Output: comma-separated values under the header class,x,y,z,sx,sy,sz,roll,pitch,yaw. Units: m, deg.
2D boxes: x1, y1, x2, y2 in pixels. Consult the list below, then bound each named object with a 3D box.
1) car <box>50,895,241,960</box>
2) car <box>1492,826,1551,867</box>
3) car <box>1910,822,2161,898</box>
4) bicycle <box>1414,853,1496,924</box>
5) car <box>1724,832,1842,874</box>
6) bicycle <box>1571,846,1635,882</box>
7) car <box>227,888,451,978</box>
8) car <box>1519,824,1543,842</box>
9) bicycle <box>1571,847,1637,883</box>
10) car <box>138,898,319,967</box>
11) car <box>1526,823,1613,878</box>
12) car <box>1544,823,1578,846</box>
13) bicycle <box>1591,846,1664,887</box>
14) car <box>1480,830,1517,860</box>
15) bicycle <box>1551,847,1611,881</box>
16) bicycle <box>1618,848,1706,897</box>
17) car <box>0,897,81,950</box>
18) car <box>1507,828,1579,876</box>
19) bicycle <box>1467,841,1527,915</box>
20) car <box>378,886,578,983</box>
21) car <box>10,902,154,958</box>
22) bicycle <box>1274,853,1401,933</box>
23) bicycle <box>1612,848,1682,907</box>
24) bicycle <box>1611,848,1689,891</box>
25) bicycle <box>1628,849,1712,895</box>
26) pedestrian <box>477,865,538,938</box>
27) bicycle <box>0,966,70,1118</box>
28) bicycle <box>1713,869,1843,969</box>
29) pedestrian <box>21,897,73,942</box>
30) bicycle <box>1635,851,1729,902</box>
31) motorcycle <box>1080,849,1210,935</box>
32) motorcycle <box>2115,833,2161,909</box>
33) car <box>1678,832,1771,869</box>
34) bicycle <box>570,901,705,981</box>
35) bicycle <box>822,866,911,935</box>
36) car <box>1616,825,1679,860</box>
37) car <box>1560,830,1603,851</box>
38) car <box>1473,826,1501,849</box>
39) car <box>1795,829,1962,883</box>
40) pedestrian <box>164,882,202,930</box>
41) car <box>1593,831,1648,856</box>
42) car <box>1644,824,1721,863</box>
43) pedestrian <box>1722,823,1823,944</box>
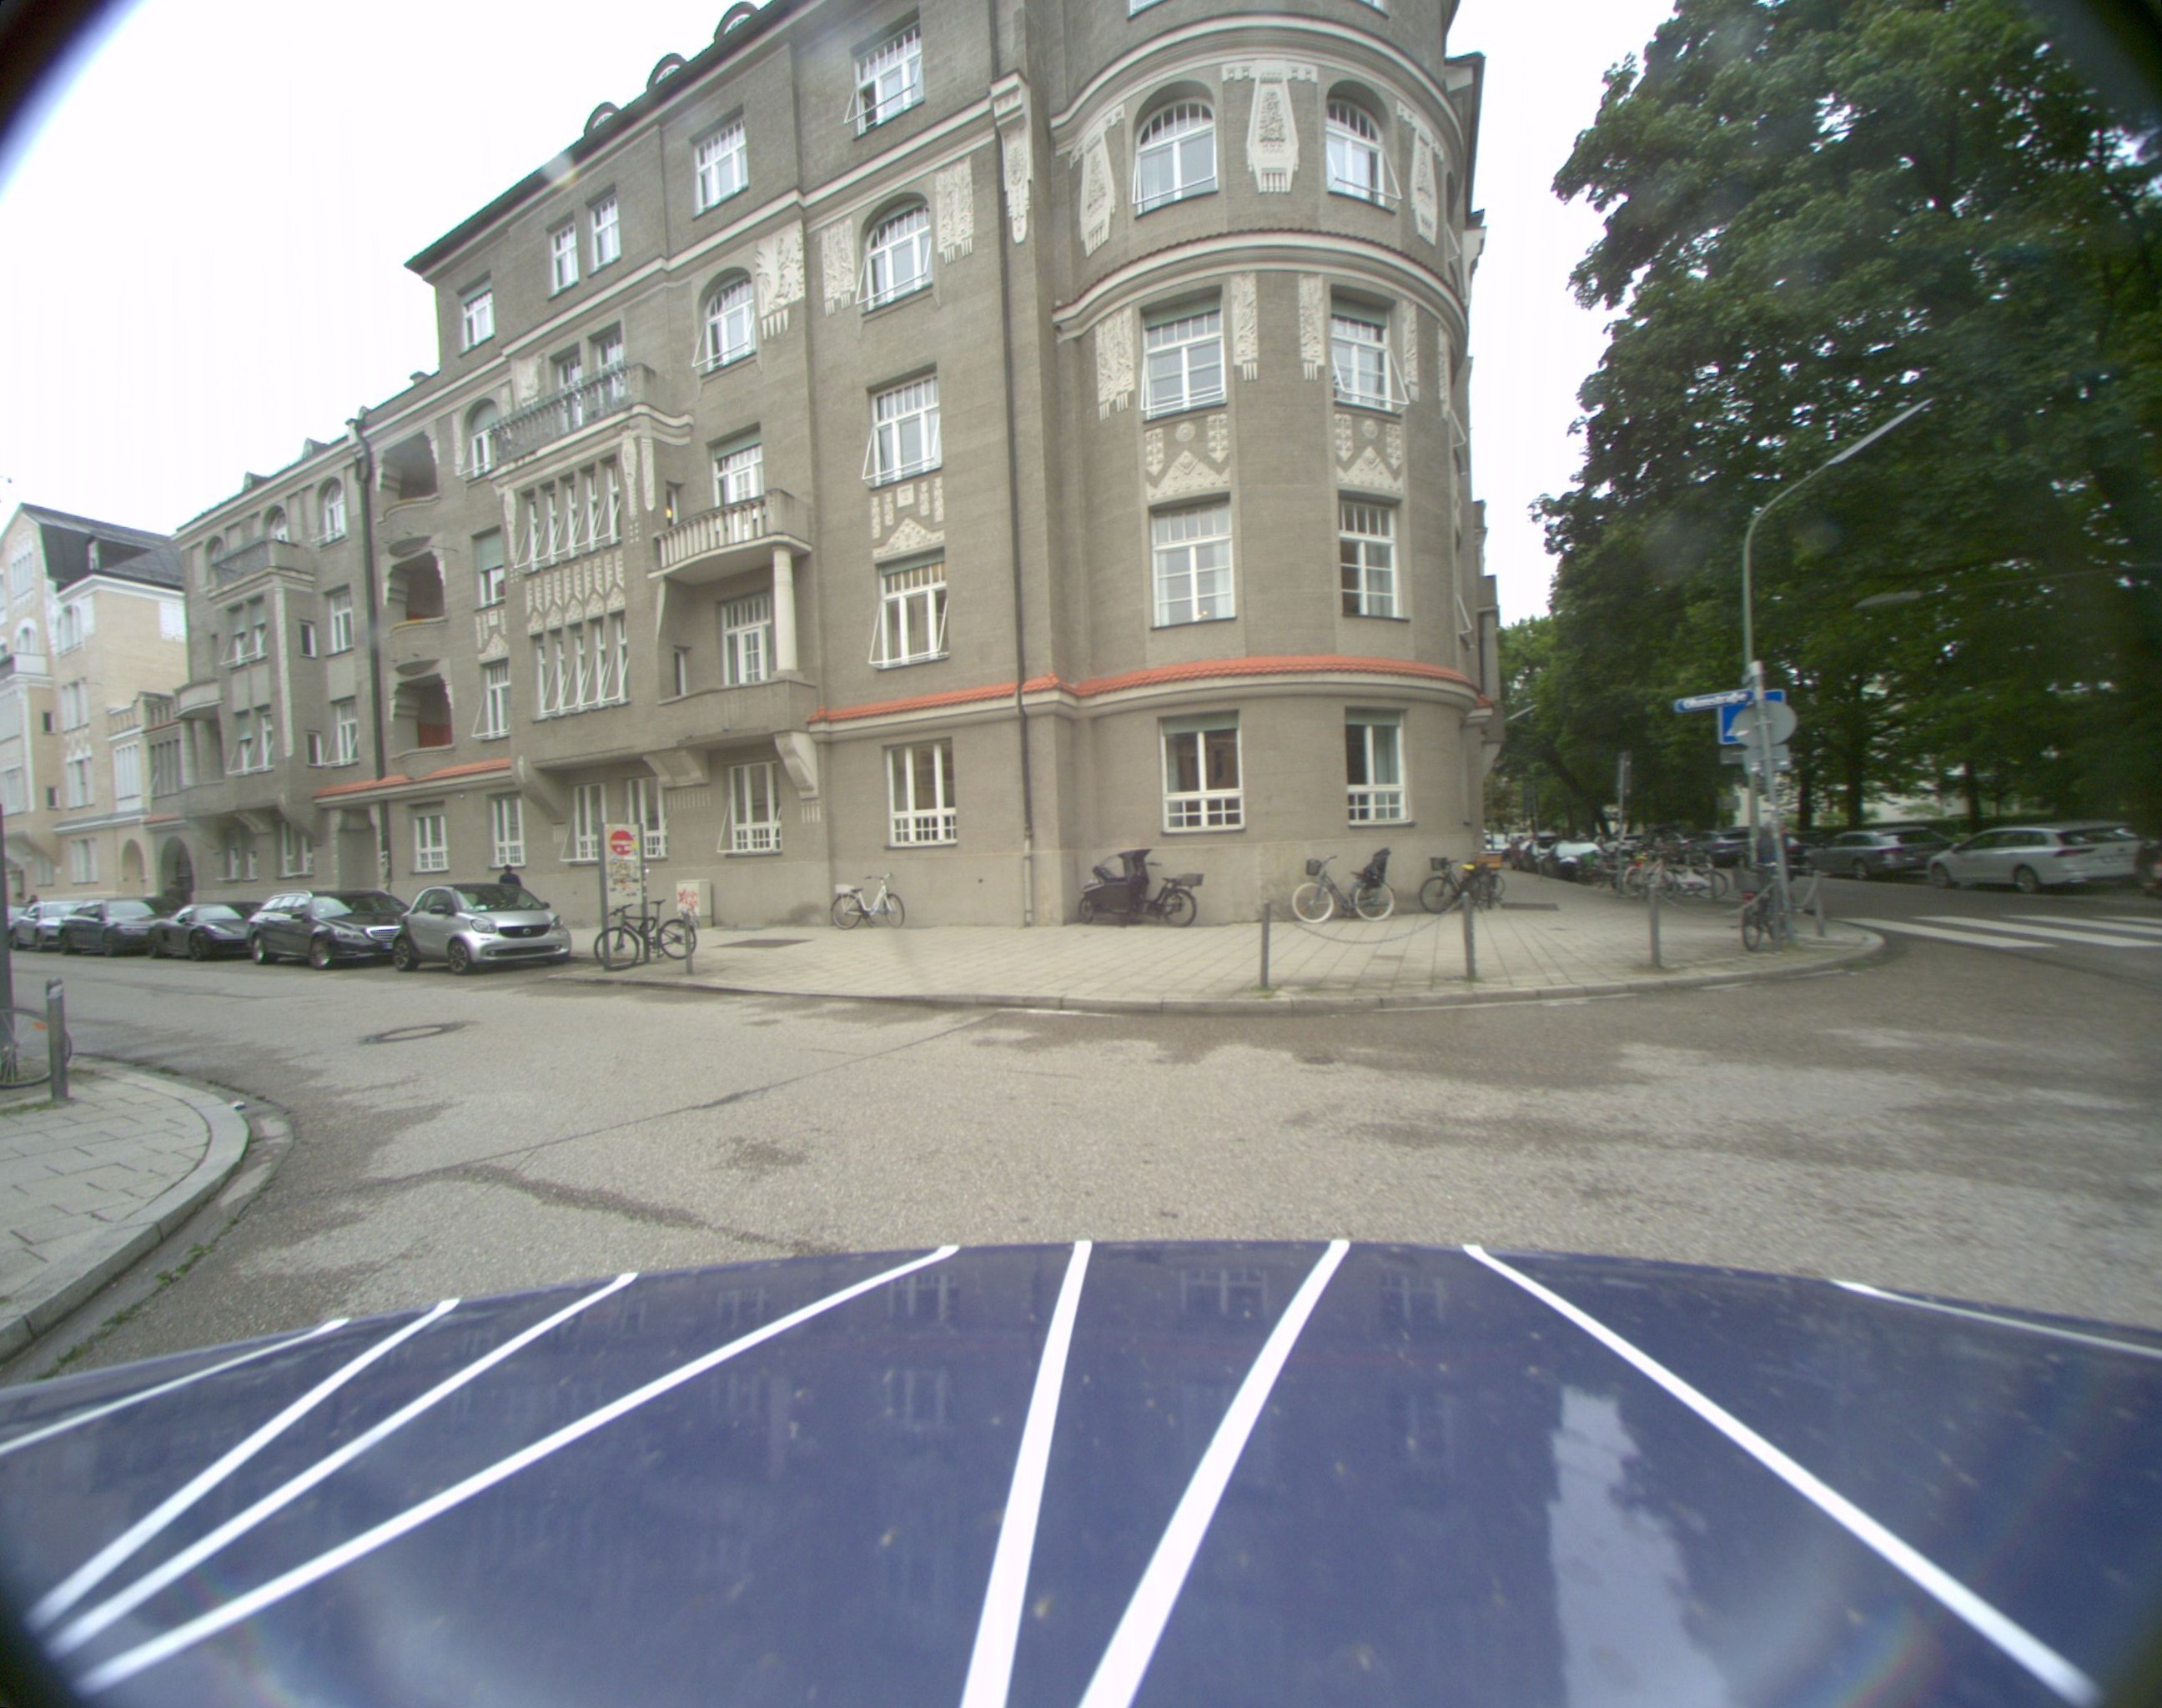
class,x,y,z,sx,sy,sz,roll,pitch,yaw
car,-24.959,1.920,20.266,4.767,1.440,2.003,-2,0,24
car,22.916,-0.439,39.691,1.995,1.941,4.667,-2,1,22
car,21.184,0.095,17.089,1.621,1.440,4.441,-2,0,21
bicycle,7.050,0.612,14.274,1.929,1.151,0.563,-3,5,-37
car,26.214,-0.061,28.572,1.773,1.424,4.523,-2,0,22
bicycle,17.430,0.332,25.385,1.679,1.140,0.513,-2,2,41
car,-15.159,1.537,15.483,4.696,1.506,1.764,-2,1,27
car,52.268,-2.504,88.293,1.995,1.941,4.668,-2,1,26
bicycle,16.906,0.366,24.584,1.679,1.140,0.513,-2,2,41
car,-20.066,1.794,17.873,4.086,1.323,1.764,-2,0,27
car,18.881,-0.186,29.613,1.995,1.941,4.667,-2,1,22
car,42.712,-1.747,67.670,1.995,1.941,4.668,-2,1,26
bicycle,16.019,0.365,22.297,1.679,1.140,0.513,-2,2,41
car,29.600,-0.685,53.974,1.995,1.941,4.668,-2,1,26
bicycle,17.436,0.361,26.532,1.679,1.140,0.513,-2,2,41
bicycle,14.339,0.464,18.792,1.679,1.140,0.467,-2,2,41
car,-35.044,2.259,24.818,4.597,1.504,1.846,-2,1,25
car,20.759,-0.144,34.325,1.995,1.941,4.667,-2,1,22
bicycle,8.632,0.464,15.728,0.736,1.405,1.930,-2,1,38
car,-10.790,1.379,13.614,2.904,1.506,1.713,-2,-1,27
car,-29.810,2.230,22.662,4.428,1.423,1.815,-2,-1,27
bicycle,4.432,0.661,13.201,1.925,1.249,0.738,-3,1,-5
bicycle,12.156,0.482,16.310,1.686,1.140,0.511,-3,1,-28
bicycle,15.855,0.436,21.192,1.679,1.140,0.513,-2,2,41
bicycle,15.347,0.462,19.822,1.679,1.140,0.513,-2,2,41
pedestrian,-14.740,1.204,19.540,0.933,1.777,0.843,-2,2,29
bicycle,-8.933,1.478,5.506,1.800,1.079,0.664,-2,-1,-37
bicycle,8.534,0.750,9.278,2.010,1.004,0.511,-3,1,-28
pedestrian,-41.997,2.661,30.869,0.937,1.719,0.997,-2,1,25
bicycle,14.251,0.543,18.034,1.704,1.140,0.513,-2,2,41
motorcycle,1.135,0.677,13.584,2.142,1.432,0.739,-2,1,24
motorcycle,18.852,0.265,13.191,2.009,1.176,0.857,-4,-2,-40
car,28.127,-0.175,33.384,1.773,1.424,4.523,-2,0,22
bicycle,-7.005,1.340,12.116,0.539,1.009,1.810,-2,2,25
bicycle,-4.456,0.965,15.775,1.671,1.342,0.621,-2,1,21
car,31.988,-0.638,43.039,1.773,1.825,4.523,-2,0,22
car,37.536,-1.021,57.068,1.773,1.424,4.523,-2,0,22
car,36.790,-1.487,68.919,1.995,1.941,4.668,-2,1,26
car,23.943,0.022,23.055,1.773,1.424,4.523,-2,0,22
pedestrian,-35.544,2.054,30.077,0.729,1.807,0.720,-2,2,25
car,33.936,-0.672,47.915,1.773,1.424,4.523,-2,0,22
car,30.081,-0.529,38.154,1.773,1.808,4.523,-2,0,22
pedestrian,9.823,0.397,10.806,0.813,1.632,0.725,-3,1,-16
